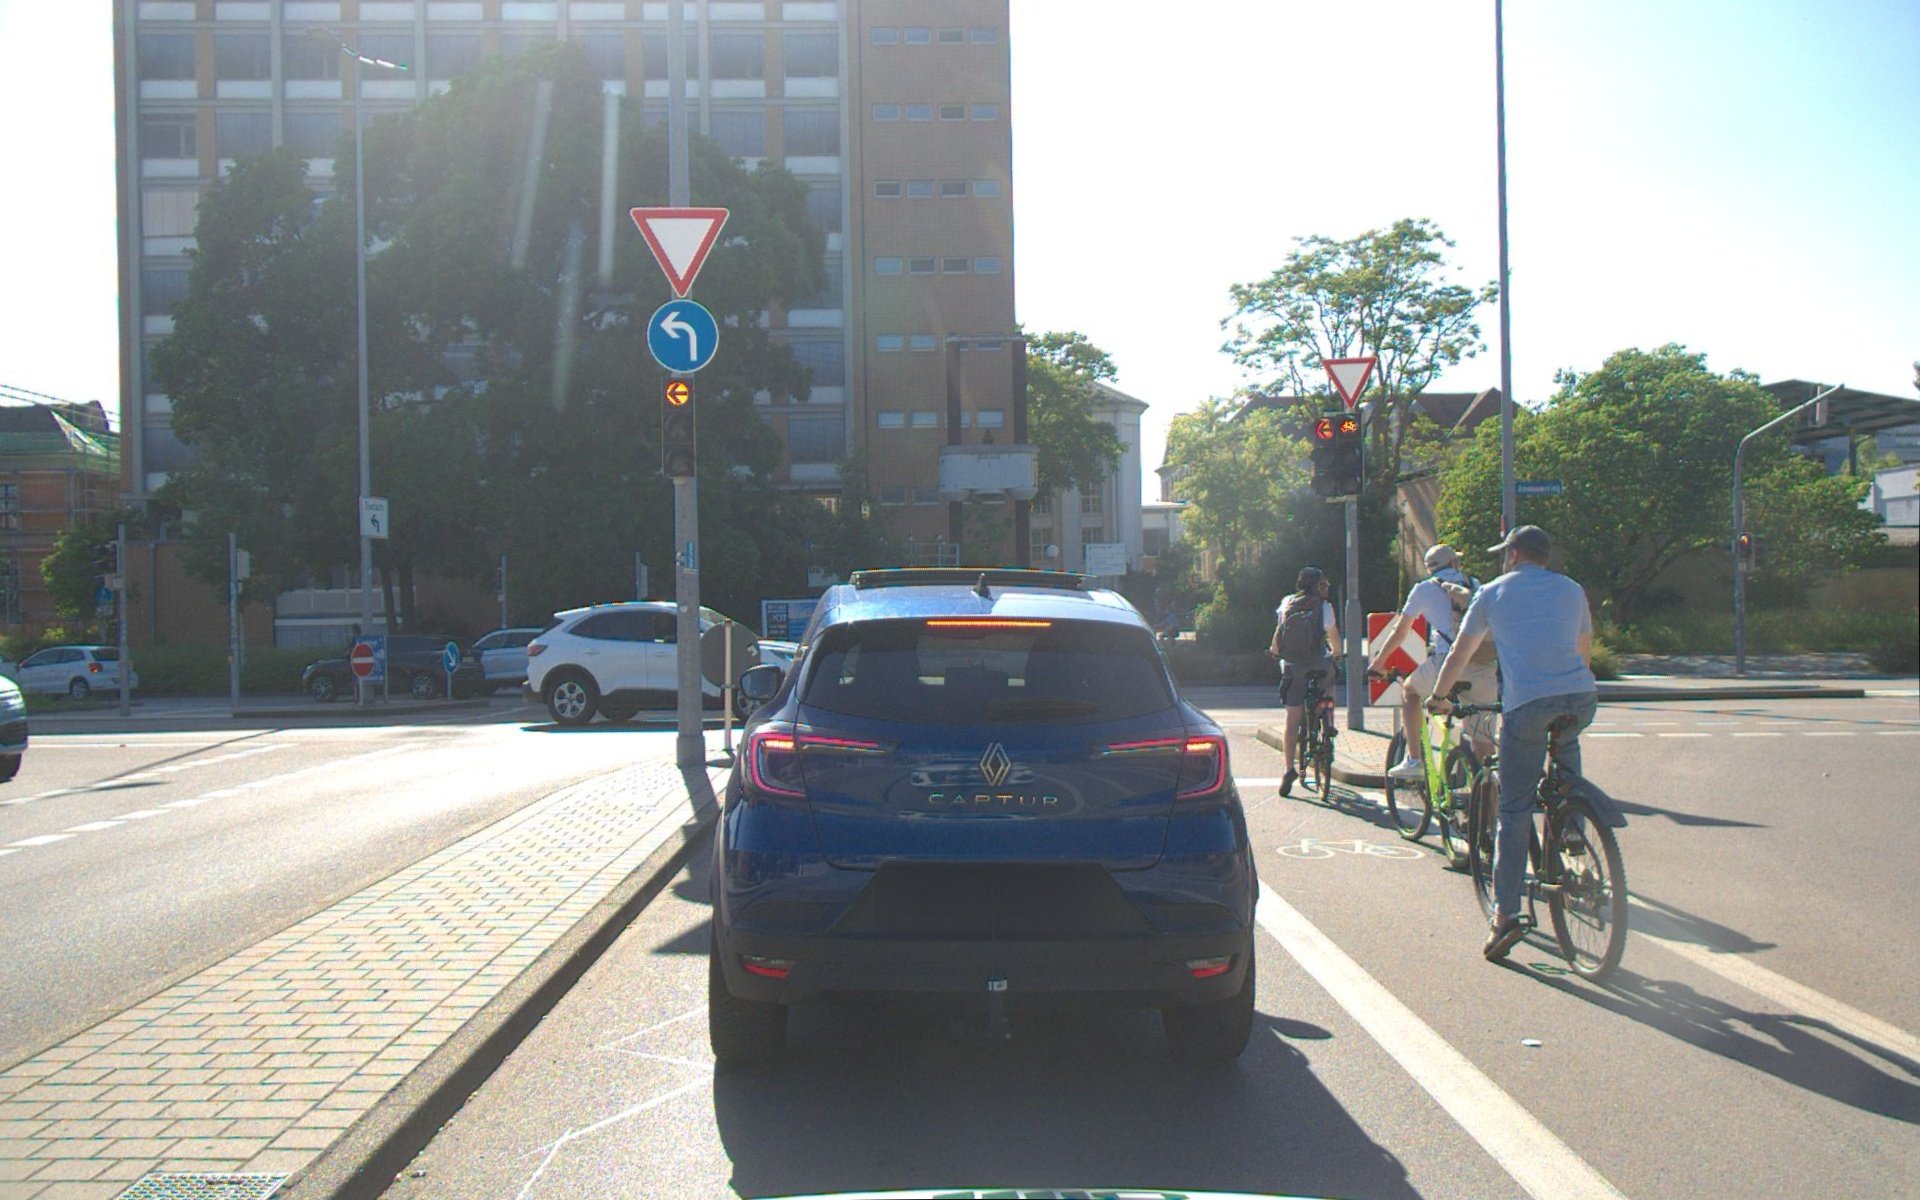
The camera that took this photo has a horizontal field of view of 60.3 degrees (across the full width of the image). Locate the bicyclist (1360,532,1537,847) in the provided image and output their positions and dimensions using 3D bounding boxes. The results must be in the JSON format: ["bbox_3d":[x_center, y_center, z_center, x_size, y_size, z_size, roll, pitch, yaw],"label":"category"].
[{"bbox_3d":[2.880,0.508,9.846,0.633,1.769,1.065,1,0,-6],"label":"bicyclist"}]

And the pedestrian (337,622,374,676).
[{"bbox_3d":[-18.882,1.529,51.665,0.842,1.598,0.560,-4,0,15],"label":"pedestrian"}]

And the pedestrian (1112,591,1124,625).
[{"bbox_3d":[8.874,0.438,93.023,0.610,1.888,0.563,-1,0,2],"label":"pedestrian"}]

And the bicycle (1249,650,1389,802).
[{"bbox_3d":[2.759,0.935,12.929,0.723,1.012,2.174,1,0,3],"label":"bicycle"}]

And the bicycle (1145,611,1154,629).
[{"bbox_3d":[10.791,1.144,94.228,0.397,0.990,1.684,1,0,3],"label":"bicycle"}]

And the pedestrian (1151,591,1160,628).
[{"bbox_3d":[10.795,0.515,91.228,0.465,2.049,0.523,-1,0,5],"label":"pedestrian"}]

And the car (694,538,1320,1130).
[{"bbox_3d":[0.059,0.667,6.687,1.767,1.660,3.998,1,0,-3],"label":"car"}]

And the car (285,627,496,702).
[{"bbox_3d":[-13.240,1.487,38.532,4.279,1.660,1.846,-1,0,12],"label":"car"}]

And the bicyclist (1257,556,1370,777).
[{"bbox_3d":[2.757,0.500,12.980,0.711,1.657,0.969,1,0,3],"label":"bicyclist"}]

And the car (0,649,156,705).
[{"bbox_3d":[-23.893,2.083,44.647,3.755,1.460,1.744,-1,-2,16],"label":"car"}]

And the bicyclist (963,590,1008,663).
[{"bbox_3d":[0.674,0.709,44.011,1.078,1.899,0.653,-1,1,10],"label":"bicyclist"}]

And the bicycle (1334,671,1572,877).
[{"bbox_3d":[2.869,0.977,9.850,0.646,1.020,1.967,1,0,-6],"label":"bicycle"}]

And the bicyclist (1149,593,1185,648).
[{"bbox_3d":[5.526,0.542,44.070,0.916,1.454,0.599,-1,0,7],"label":"bicyclist"}]

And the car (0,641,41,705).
[{"bbox_3d":[-23.893,1.722,38.948,3.754,1.460,1.744,-1,0,15],"label":"car"}]

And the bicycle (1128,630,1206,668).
[{"bbox_3d":[5.519,1.306,44.068,2.032,0.981,0.599,-1,0,7],"label":"bicycle"}]

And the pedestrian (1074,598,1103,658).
[{"bbox_3d":[3.552,0.774,45.737,0.721,1.631,0.599,-1,0,12],"label":"pedestrian"}]

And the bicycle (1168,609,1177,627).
[{"bbox_3d":[12.152,1.022,94.573,0.397,0.990,1.684,1,0,3],"label":"bicycle"}]

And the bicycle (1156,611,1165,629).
[{"bbox_3d":[11.400,1.154,94.194,0.397,0.990,1.684,1,0,3],"label":"bicycle"}]

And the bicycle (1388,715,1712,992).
[{"bbox_3d":[2.501,1.034,7.279,0.725,0.911,1.978,1,0,0],"label":"bicycle"}]

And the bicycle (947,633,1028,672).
[{"bbox_3d":[0.725,1.384,43.996,2.037,0.946,0.697,-2,1,10],"label":"bicycle"}]

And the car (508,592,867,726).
[{"bbox_3d":[-3.784,0.847,23.209,4.586,1.647,1.845,-3,-3,12],"label":"car"}]

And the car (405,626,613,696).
[{"bbox_3d":[-11.273,1.527,41.374,4.721,1.660,1.845,-1,0,15],"label":"car"}]

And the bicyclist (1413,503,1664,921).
[{"bbox_3d":[2.506,0.459,7.276,0.736,1.698,1.016,1,0,0],"label":"bicyclist"}]

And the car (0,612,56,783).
[{"bbox_3d":[-11.023,1.020,16.830,4.178,1.609,1.784,-2,0,40],"label":"car"}]

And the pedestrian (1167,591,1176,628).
[{"bbox_3d":[11.823,0.538,92.568,0.465,2.049,0.468,-1,0,5],"label":"pedestrian"}]
